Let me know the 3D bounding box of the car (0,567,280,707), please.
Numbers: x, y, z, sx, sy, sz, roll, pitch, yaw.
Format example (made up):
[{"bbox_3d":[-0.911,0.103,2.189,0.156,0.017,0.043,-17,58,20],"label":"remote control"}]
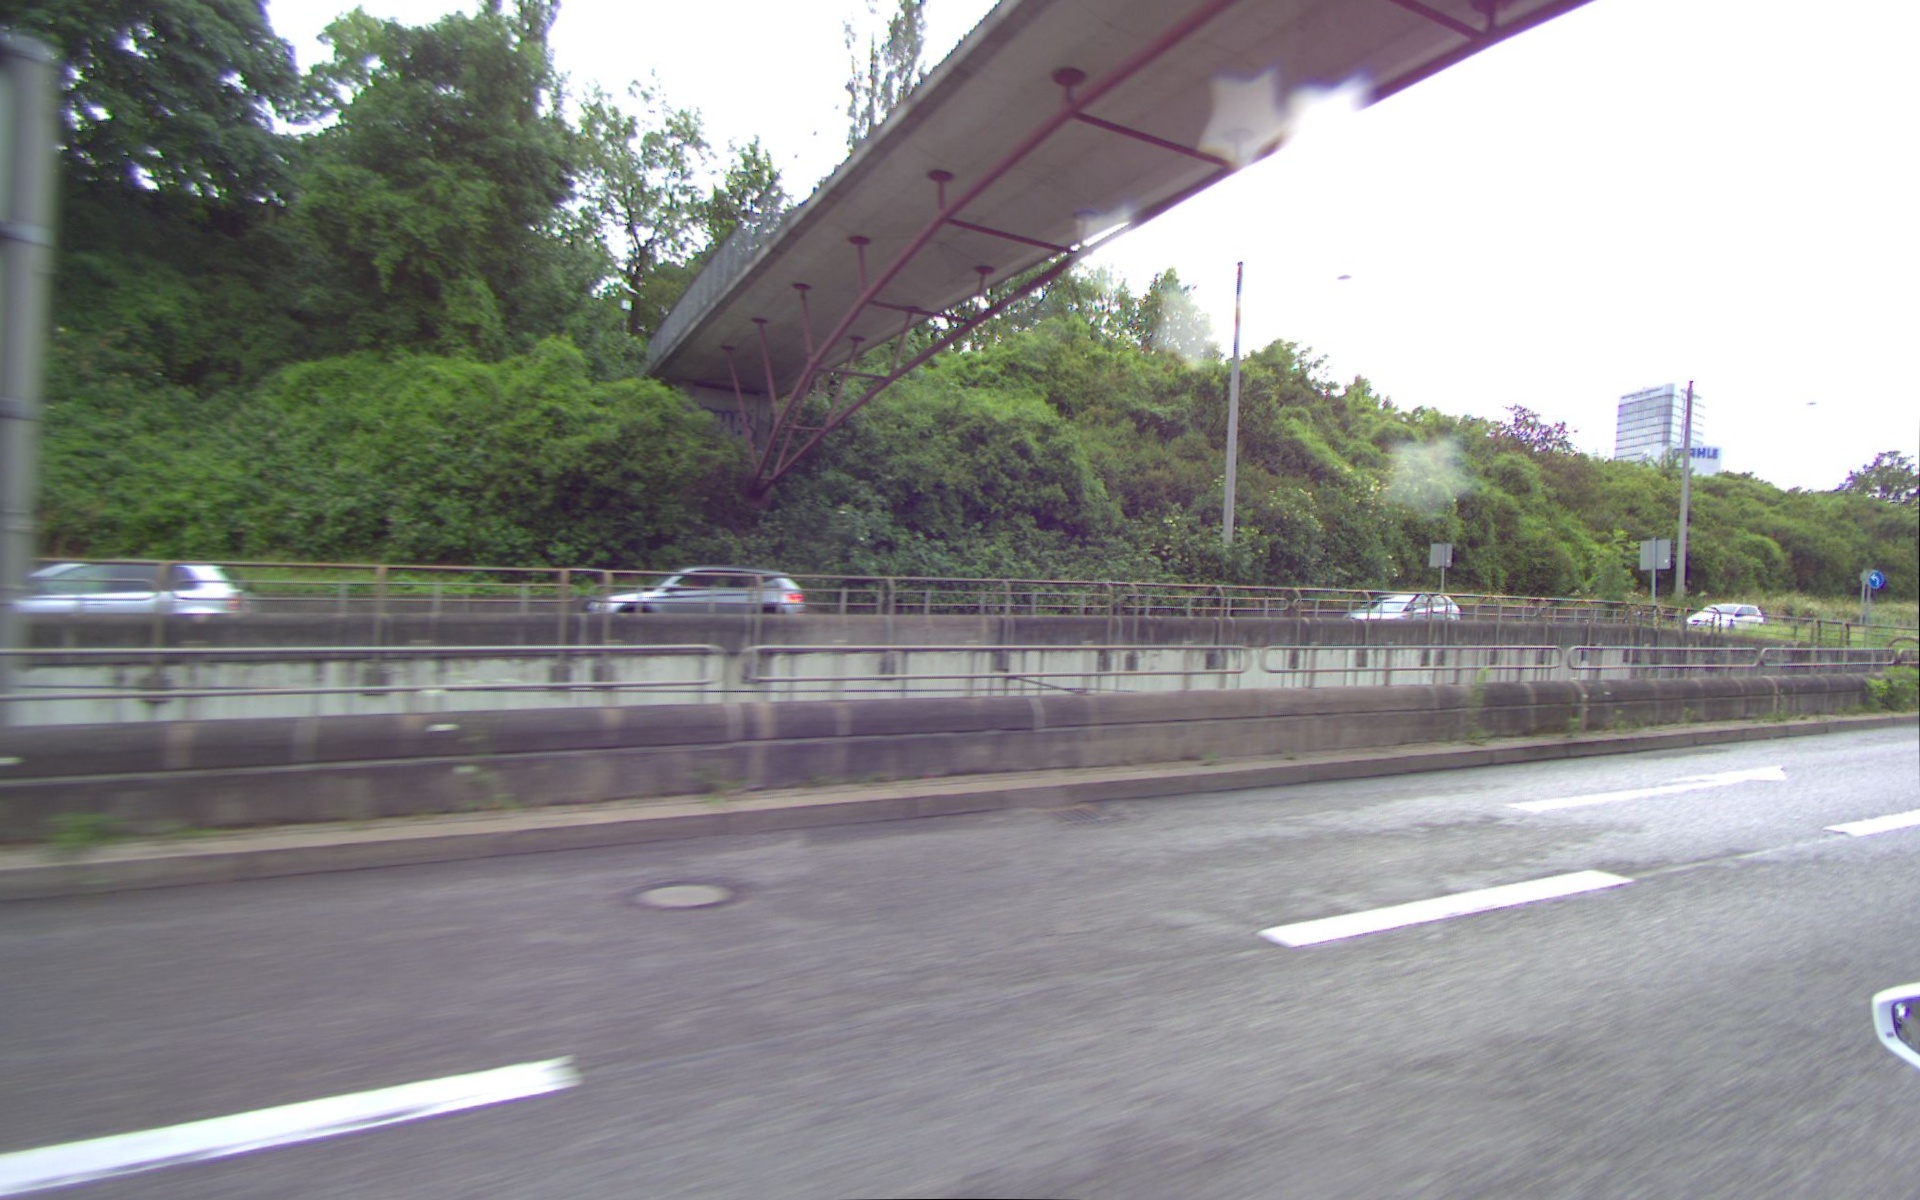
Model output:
[{"bbox_3d":[-12.316,0.515,14.515,3.950,1.854,1.664,0,-1,-28],"label":"car"}]

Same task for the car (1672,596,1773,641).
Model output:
[{"bbox_3d":[34.241,0.837,45.098,4.575,1.859,1.984,2,0,-30],"label":"car"}]

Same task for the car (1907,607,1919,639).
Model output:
[{"bbox_3d":[52.579,1.311,53.409,4.669,1.659,1.983,2,3,-31],"label":"car"}]

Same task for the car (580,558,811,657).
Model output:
[{"bbox_3d":[-5.591,0.194,21.390,4.504,1.941,1.664,1,-1,-29],"label":"car"}]

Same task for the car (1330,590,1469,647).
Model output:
[{"bbox_3d":[14.616,0.644,33.323,4.652,1.744,1.983,1,-2,-32],"label":"car"}]
